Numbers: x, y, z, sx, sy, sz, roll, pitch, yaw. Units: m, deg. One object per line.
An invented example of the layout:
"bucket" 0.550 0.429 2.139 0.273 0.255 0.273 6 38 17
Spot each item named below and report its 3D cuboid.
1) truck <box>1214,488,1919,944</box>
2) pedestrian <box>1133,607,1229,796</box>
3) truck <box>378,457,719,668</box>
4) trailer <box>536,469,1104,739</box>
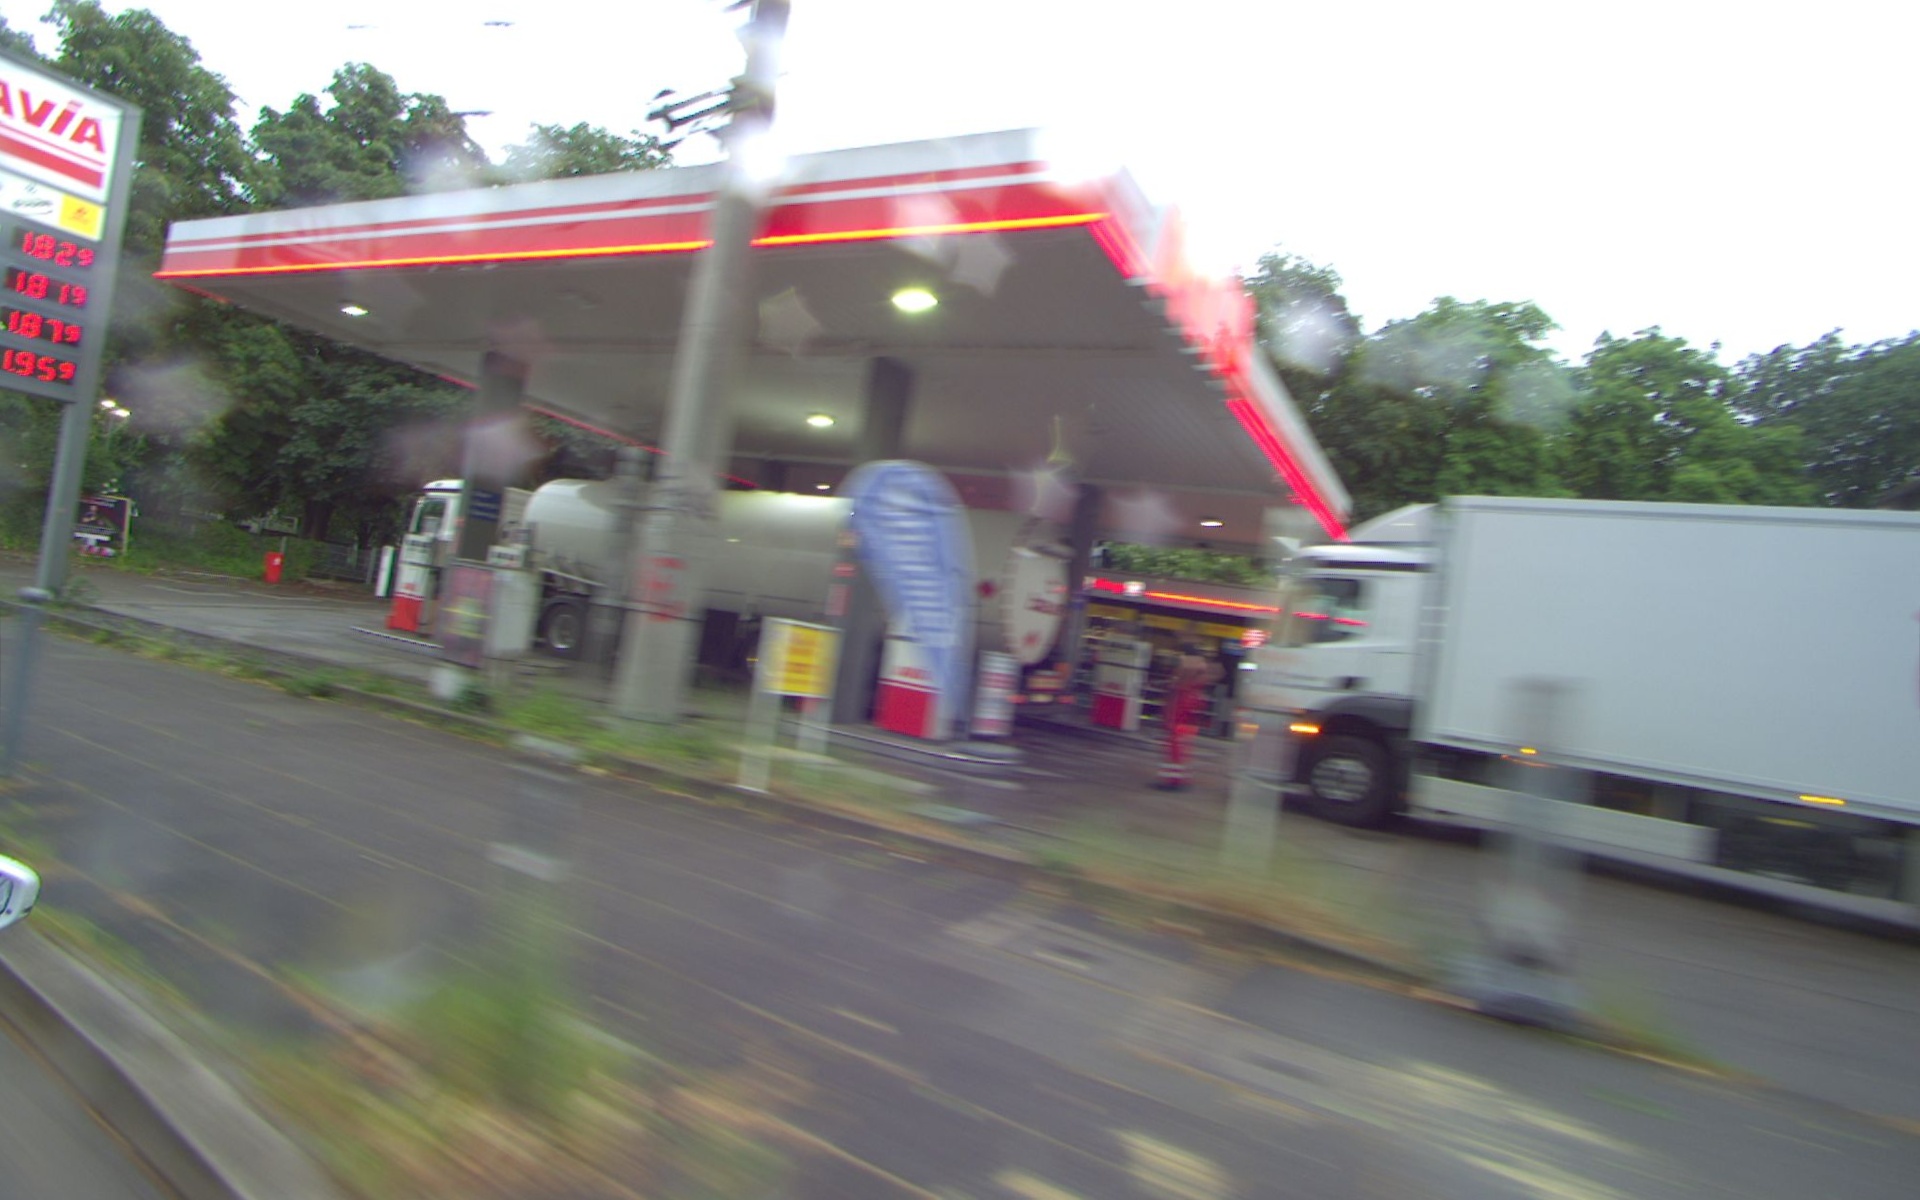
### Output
"truck" 7.977 1.054 9.769 10.093 3.611 2.656 6 -2 35
"pedestrian" 2.601 1.178 11.786 0.640 2.064 0.809 7 -1 31
"truck" -8.337 -0.769 20.355 6.017 3.440 2.835 7 -1 27
"trailer" -2.738 -0.131 17.307 9.669 3.435 2.811 6 -1 30
